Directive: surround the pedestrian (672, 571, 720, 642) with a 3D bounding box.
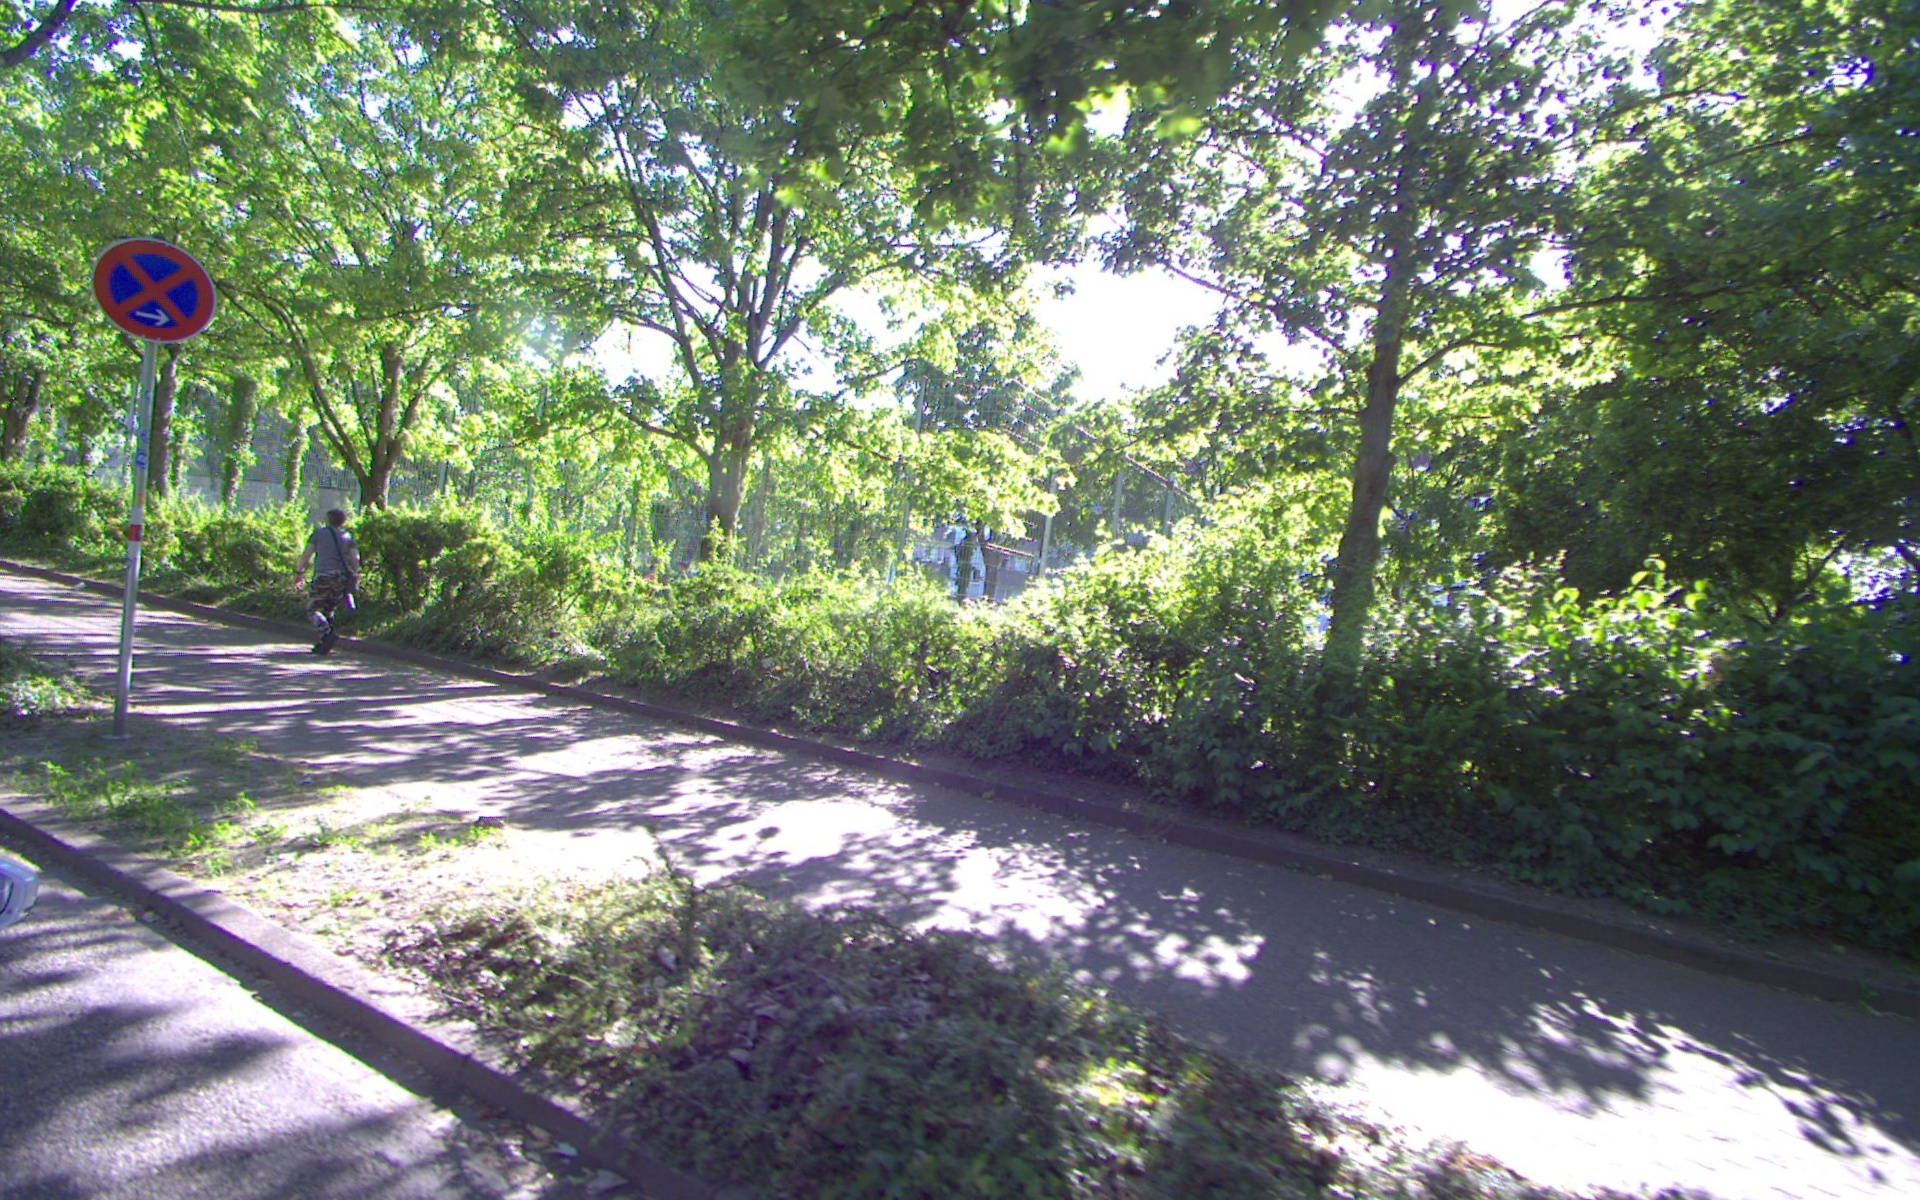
[{"bbox_3d":[-5.036,0.119,19.194,0.558,1.253,0.539,9,-2,-40],"label":"pedestrian"}]

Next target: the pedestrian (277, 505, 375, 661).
[{"bbox_3d":[-7.031,-0.189,11.156,0.661,1.627,0.571,7,0,39],"label":"pedestrian"}]
